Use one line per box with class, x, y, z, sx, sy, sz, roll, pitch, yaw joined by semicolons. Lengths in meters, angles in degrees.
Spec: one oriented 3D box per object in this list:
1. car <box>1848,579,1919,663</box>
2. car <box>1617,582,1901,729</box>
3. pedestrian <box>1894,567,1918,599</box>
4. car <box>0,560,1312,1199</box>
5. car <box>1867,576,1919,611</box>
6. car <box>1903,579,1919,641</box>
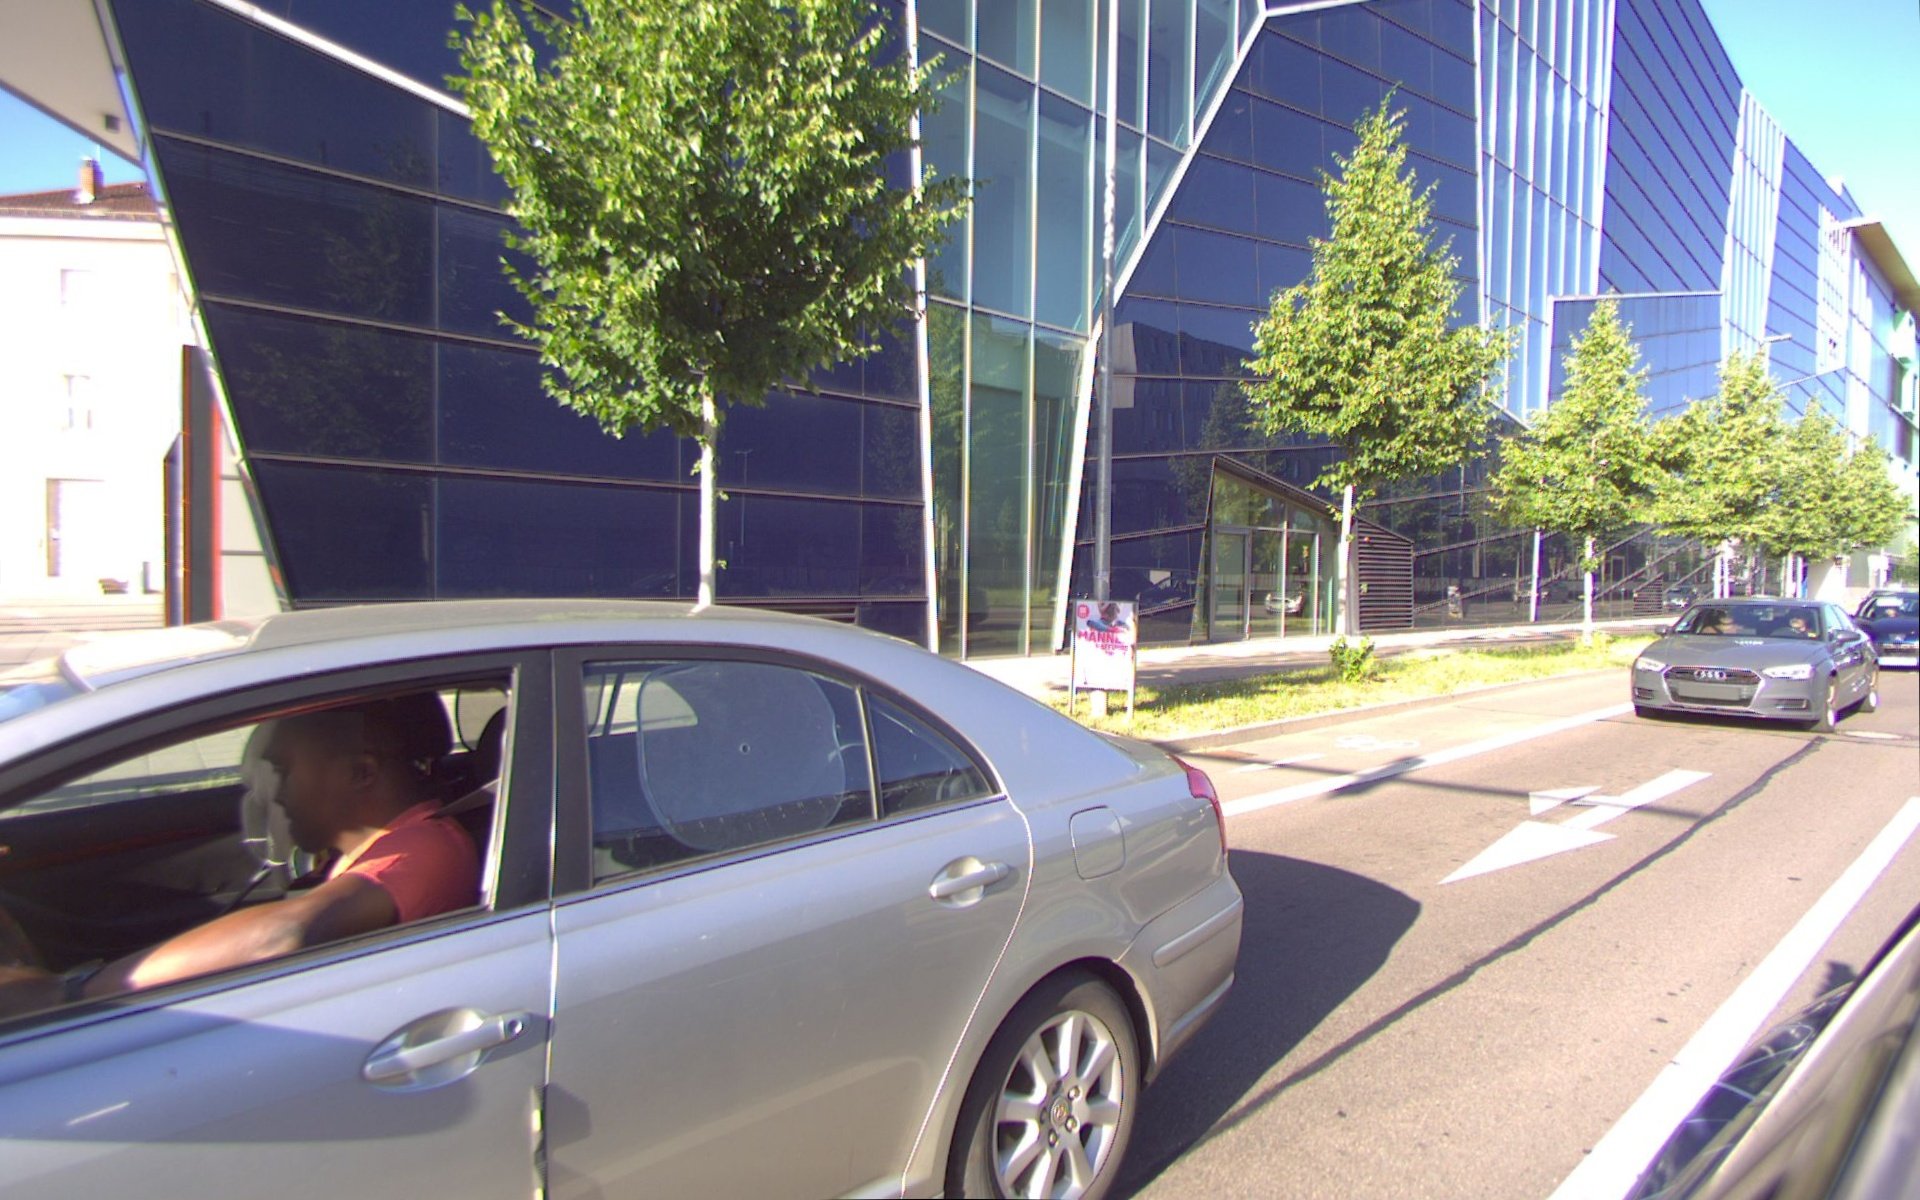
car;18.496;0.357;19.375;3.903;1.497;1.752;-1;1;-41
car;9.472;0.505;11.883;4.188;1.409;1.750;-1;1;-39
pedestrian;57.252;-1.044;61.252;0.889;1.846;0.829;0;5;-41
car;-1.306;0.675;2.032;4.547;1.499;1.749;-1;3;-40
car;44.353;-0.327;47.730;4.633;1.516;1.739;-1;4;-41
car;24.817;0.227;25.092;3.358;1.497;1.752;-1;1;-41
